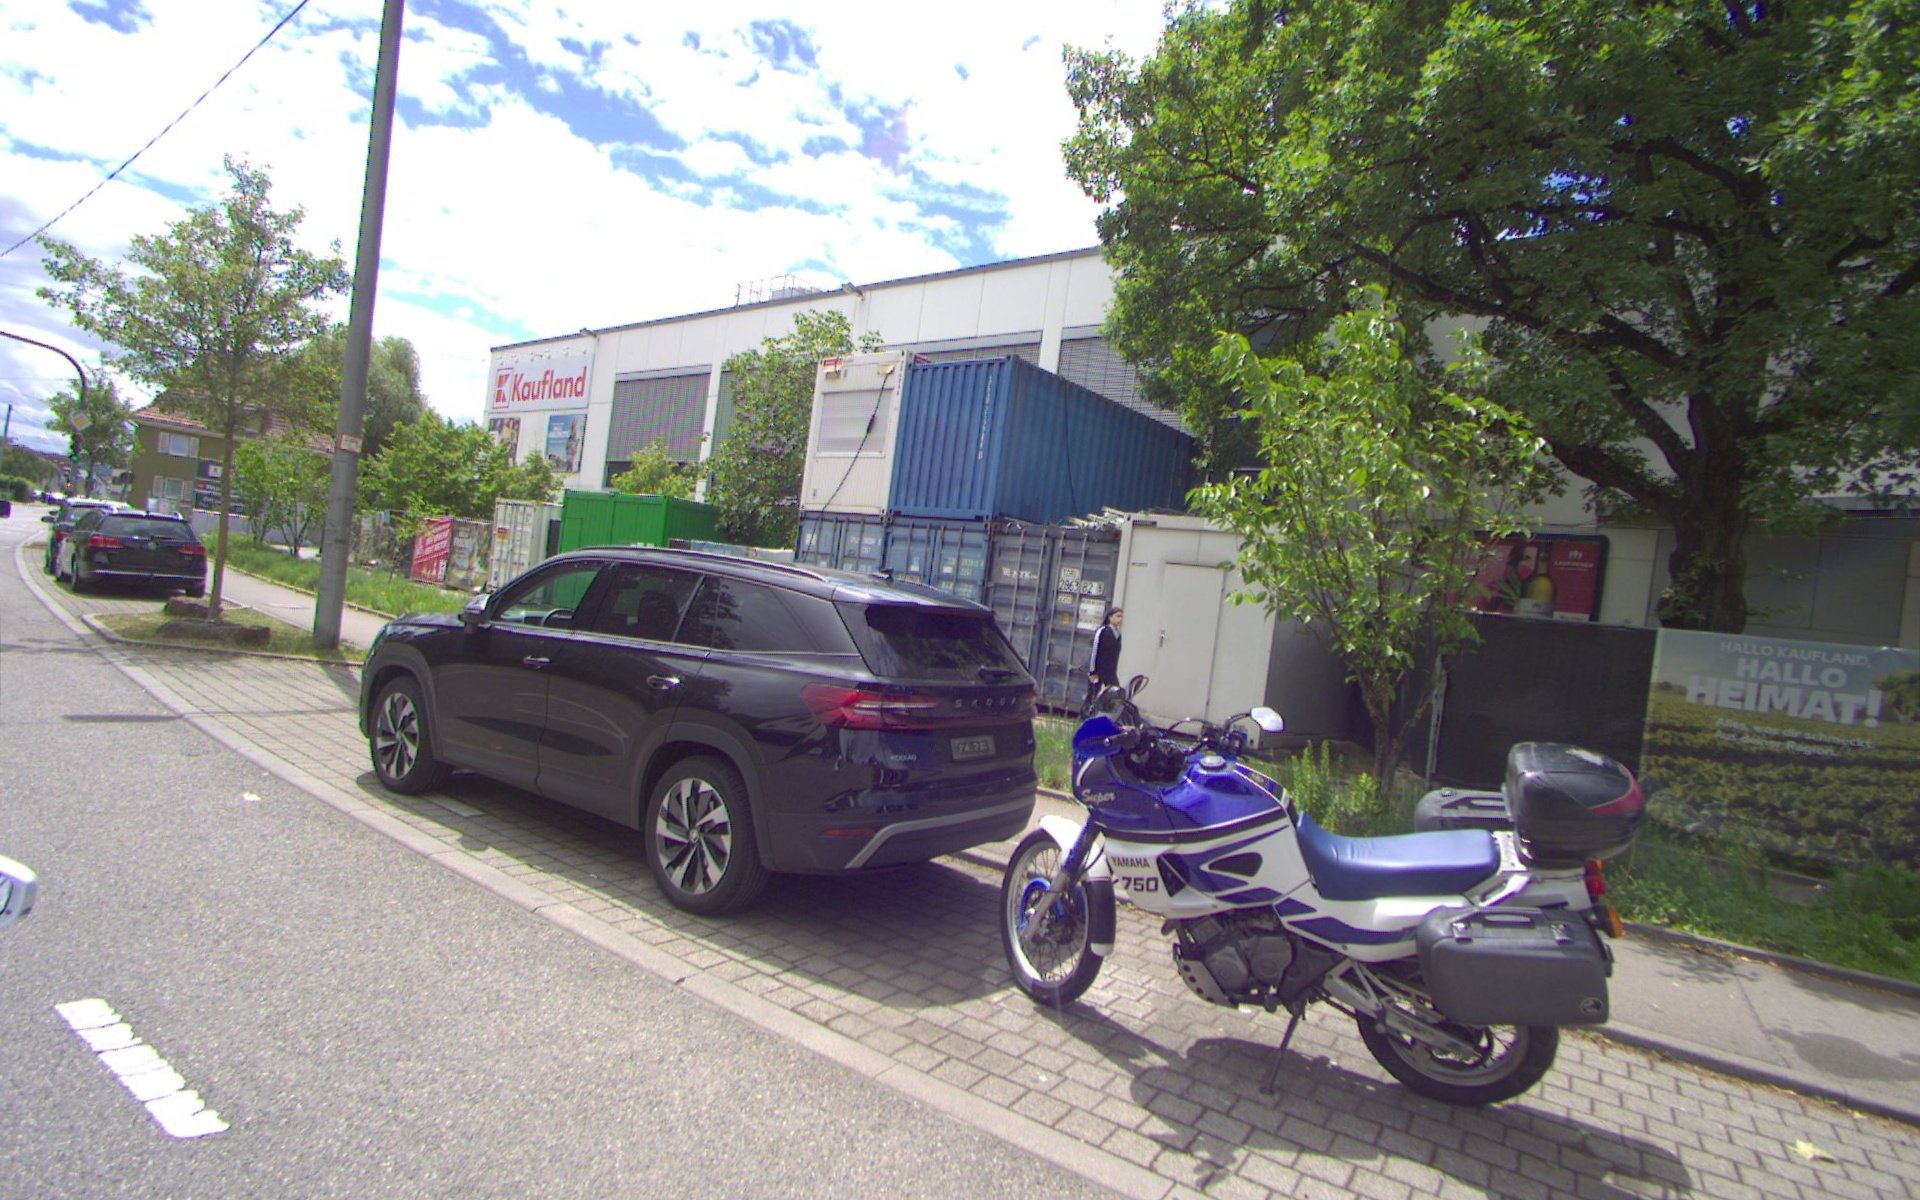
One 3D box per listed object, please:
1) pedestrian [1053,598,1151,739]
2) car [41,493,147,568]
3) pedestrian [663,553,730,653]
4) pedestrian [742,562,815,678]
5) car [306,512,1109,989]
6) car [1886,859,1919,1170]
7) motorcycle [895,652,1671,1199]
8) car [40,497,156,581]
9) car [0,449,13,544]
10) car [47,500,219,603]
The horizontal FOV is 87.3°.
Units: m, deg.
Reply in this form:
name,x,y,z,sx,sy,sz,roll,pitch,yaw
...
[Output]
name,x,y,z,sx,sy,sz,roll,pitch,yaw
pedestrian,1.773,0.853,12.537,0.757,1.638,0.741,7,0,42
car,-22.320,-1.828,25.871,1.731,1.637,4.331,4,2,-45
pedestrian,-4.820,0.059,18.406,0.833,1.718,0.650,7,0,42
pedestrian,-2.847,0.311,15.756,0.715,1.717,0.649,7,0,42
car,-1.753,0.516,6.001,4.770,1.642,1.878,6,1,35
car,4.857,1.297,1.738,4.357,1.598,1.918,6,1,32
motorcycle,1.032,0.982,3.541,2.223,1.323,1.071,7,3,33
car,-18.650,-1.356,21.716,1.563,1.512,3.949,6,1,-45
car,-12.461,-0.888,11.607,4.771,1.983,1.935,7,-1,45
car,-15.105,-0.936,18.270,4.869,1.497,1.759,6,2,43
